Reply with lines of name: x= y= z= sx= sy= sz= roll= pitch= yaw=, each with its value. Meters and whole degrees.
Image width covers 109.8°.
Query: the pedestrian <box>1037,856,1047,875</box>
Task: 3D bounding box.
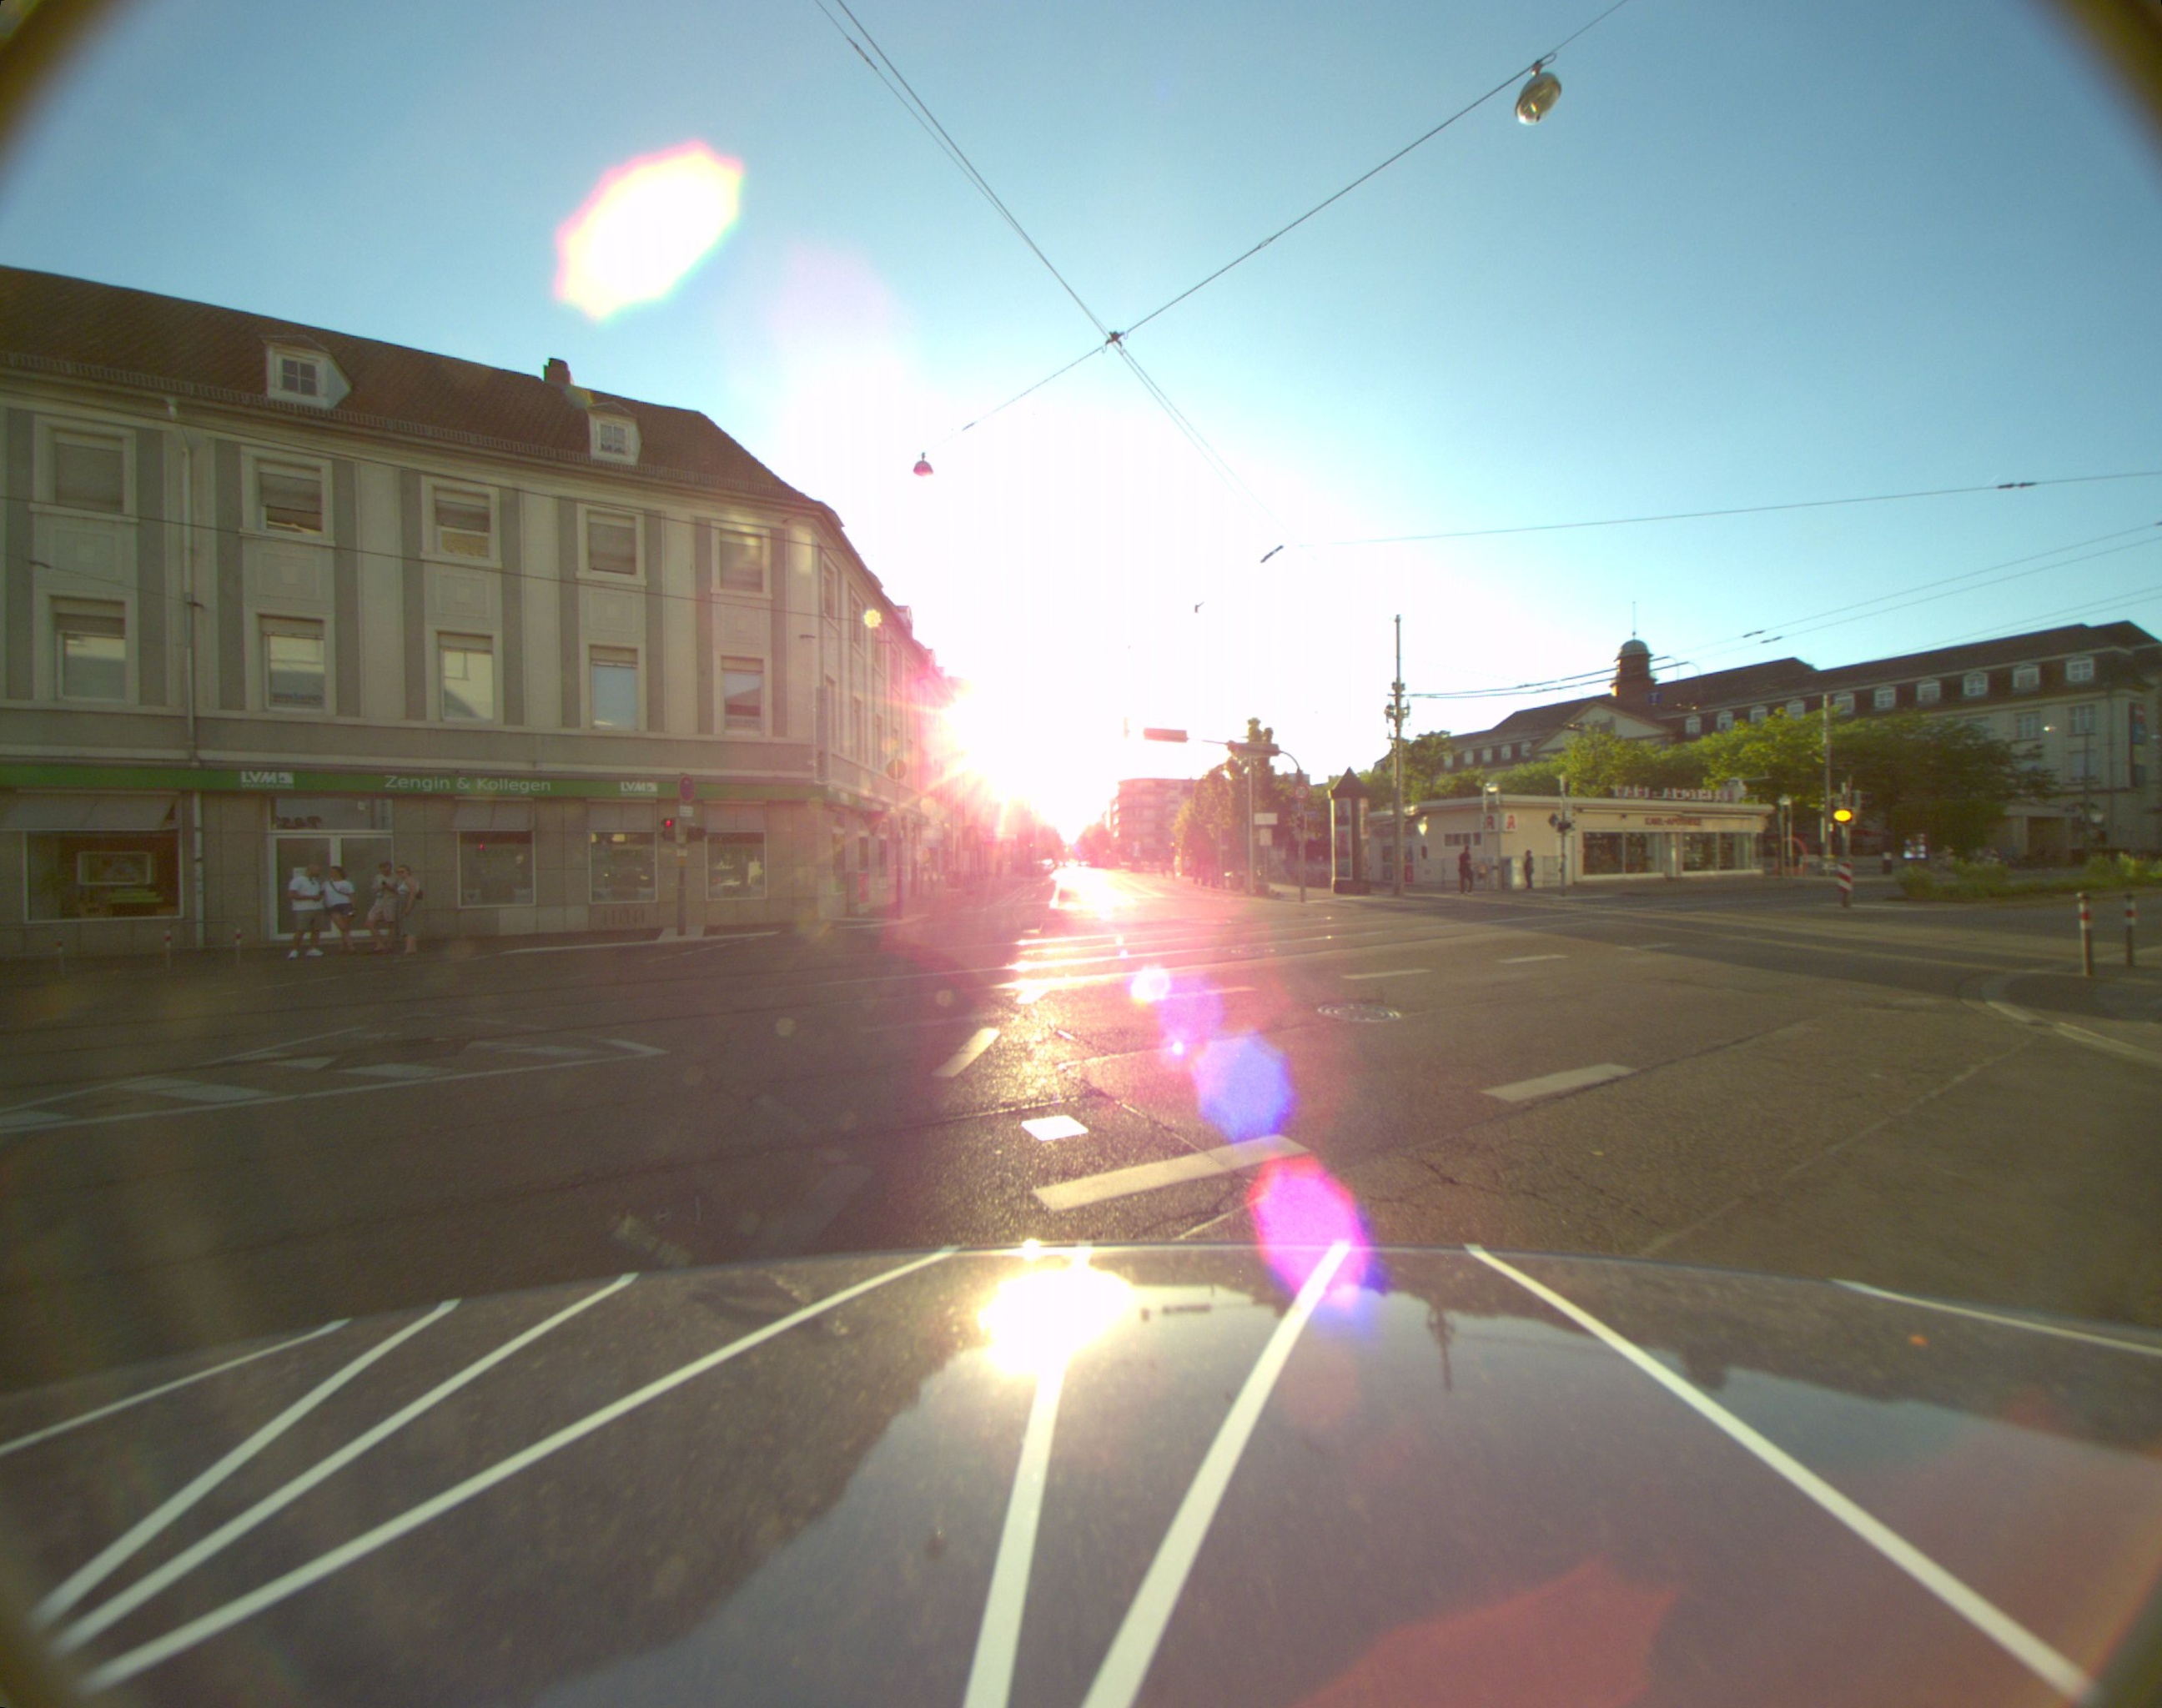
pedestrian: x=-3.578 y=1.034 z=70.205 sx=0.842 sy=1.736 sz=0.701 roll=-2 pitch=1 yaw=-2

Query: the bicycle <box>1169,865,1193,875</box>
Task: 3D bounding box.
bicycle: x=10.357 y=1.651 z=78.771 sx=2.399 sy=0.953 sz=0.673 roll=-2 pitch=1 yaw=6

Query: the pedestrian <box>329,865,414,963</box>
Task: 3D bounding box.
pedestrian: x=-13.818 y=1.134 z=14.828 sx=0.780 sy=1.802 sz=0.906 roll=-3 pitch=1 yaw=-13

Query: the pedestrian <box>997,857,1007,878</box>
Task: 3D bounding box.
pedestrian: x=-6.583 y=1.106 z=63.255 sx=0.673 sy=1.774 sz=0.721 roll=0 pitch=1 yaw=-17

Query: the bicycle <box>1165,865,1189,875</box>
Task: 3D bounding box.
bicycle: x=10.068 y=1.666 z=79.827 sx=2.399 sy=0.953 sz=0.673 roll=-2 pitch=1 yaw=6

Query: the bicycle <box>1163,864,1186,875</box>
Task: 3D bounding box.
bicycle: x=9.996 y=1.670 z=81.482 sx=2.399 sy=1.065 sz=0.673 roll=-2 pitch=1 yaw=6

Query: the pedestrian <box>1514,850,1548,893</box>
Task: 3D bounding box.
pedestrian: x=18.193 y=0.693 z=30.717 sx=0.781 sy=1.666 sz=0.904 roll=-3 pitch=1 yaw=-36

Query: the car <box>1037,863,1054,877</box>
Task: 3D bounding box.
car: x=-4.575 y=2.023 z=98.076 sx=1.999 sy=1.538 sz=4.509 roll=-2 pitch=0 yaw=0

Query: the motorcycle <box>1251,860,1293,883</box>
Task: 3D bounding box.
motorcycle: x=12.092 y=1.116 z=48.241 sx=2.450 sy=1.358 sz=0.780 roll=-2 pitch=0 yaw=4

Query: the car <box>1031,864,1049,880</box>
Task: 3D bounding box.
car: x=-4.644 y=2.032 z=86.206 sx=1.999 sy=1.538 sz=4.508 roll=-2 pitch=0 yaw=-3

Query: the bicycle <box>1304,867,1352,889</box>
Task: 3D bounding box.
bicycle: x=12.708 y=1.221 z=39.094 sx=2.197 sy=1.081 sz=0.779 roll=-1 pitch=1 yaw=-7

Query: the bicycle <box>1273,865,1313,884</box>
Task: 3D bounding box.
bicycle: x=12.563 y=1.190 z=45.008 sx=2.181 sy=1.081 sz=0.779 roll=0 pitch=1 yaw=-1

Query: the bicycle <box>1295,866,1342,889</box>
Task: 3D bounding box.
bicycle: x=12.570 y=1.239 z=40.212 sx=2.222 sy=1.081 sz=0.779 roll=-2 pitch=1 yaw=-7

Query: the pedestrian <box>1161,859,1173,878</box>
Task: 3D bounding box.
pedestrian: x=7.718 y=1.325 z=68.157 sx=0.905 sy=1.666 sz=0.780 roll=-2 pitch=1 yaw=10

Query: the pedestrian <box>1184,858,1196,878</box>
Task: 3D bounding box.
pedestrian: x=9.313 y=1.209 z=65.014 sx=0.778 sy=1.666 sz=0.908 roll=-2 pitch=1 yaw=20

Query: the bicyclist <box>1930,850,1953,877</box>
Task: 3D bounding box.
bicyclist: x=56.157 y=0.640 z=49.584 sx=0.788 sy=1.710 sz=0.594 roll=-2 pitch=1 yaw=18

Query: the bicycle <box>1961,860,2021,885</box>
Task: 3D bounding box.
bicycle: x=56.595 y=1.159 z=47.291 sx=2.414 sy=1.477 sz=0.616 roll=-2 pitch=1 yaw=18

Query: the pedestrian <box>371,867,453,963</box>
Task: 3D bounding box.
pedestrian: x=-13.031 y=1.160 z=14.835 sx=0.780 sy=1.761 sz=0.906 roll=-3 pitch=1 yaw=-13

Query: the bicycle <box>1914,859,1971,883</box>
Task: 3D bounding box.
bicycle: x=56.215 y=1.138 z=49.583 sx=2.495 sy=1.477 sz=0.594 roll=-2 pitch=1 yaw=18

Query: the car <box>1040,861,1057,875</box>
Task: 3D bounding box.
car: x=-4.421 y=1.887 z=103.923 sx=1.999 sy=1.637 sz=4.509 roll=-2 pitch=0 yaw=0

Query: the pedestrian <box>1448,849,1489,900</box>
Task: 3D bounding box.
pedestrian: x=14.146 y=0.732 z=27.746 sx=0.908 sy=1.774 sz=0.879 roll=-3 pitch=1 yaw=-23

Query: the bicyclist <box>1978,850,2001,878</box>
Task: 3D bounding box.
bicyclist: x=56.542 y=0.640 z=47.292 sx=0.654 sy=1.702 sz=0.621 roll=-2 pitch=1 yaw=18

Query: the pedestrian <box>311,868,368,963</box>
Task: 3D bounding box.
pedestrian: x=-14.434 y=1.181 z=14.811 sx=0.685 sy=1.761 sz=0.628 roll=-3 pitch=1 yaw=-42

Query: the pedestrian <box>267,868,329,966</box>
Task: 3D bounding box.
pedestrian: x=-14.781 y=1.164 z=14.355 sx=0.688 sy=1.761 sz=0.763 roll=-3 pitch=1 yaw=-42
